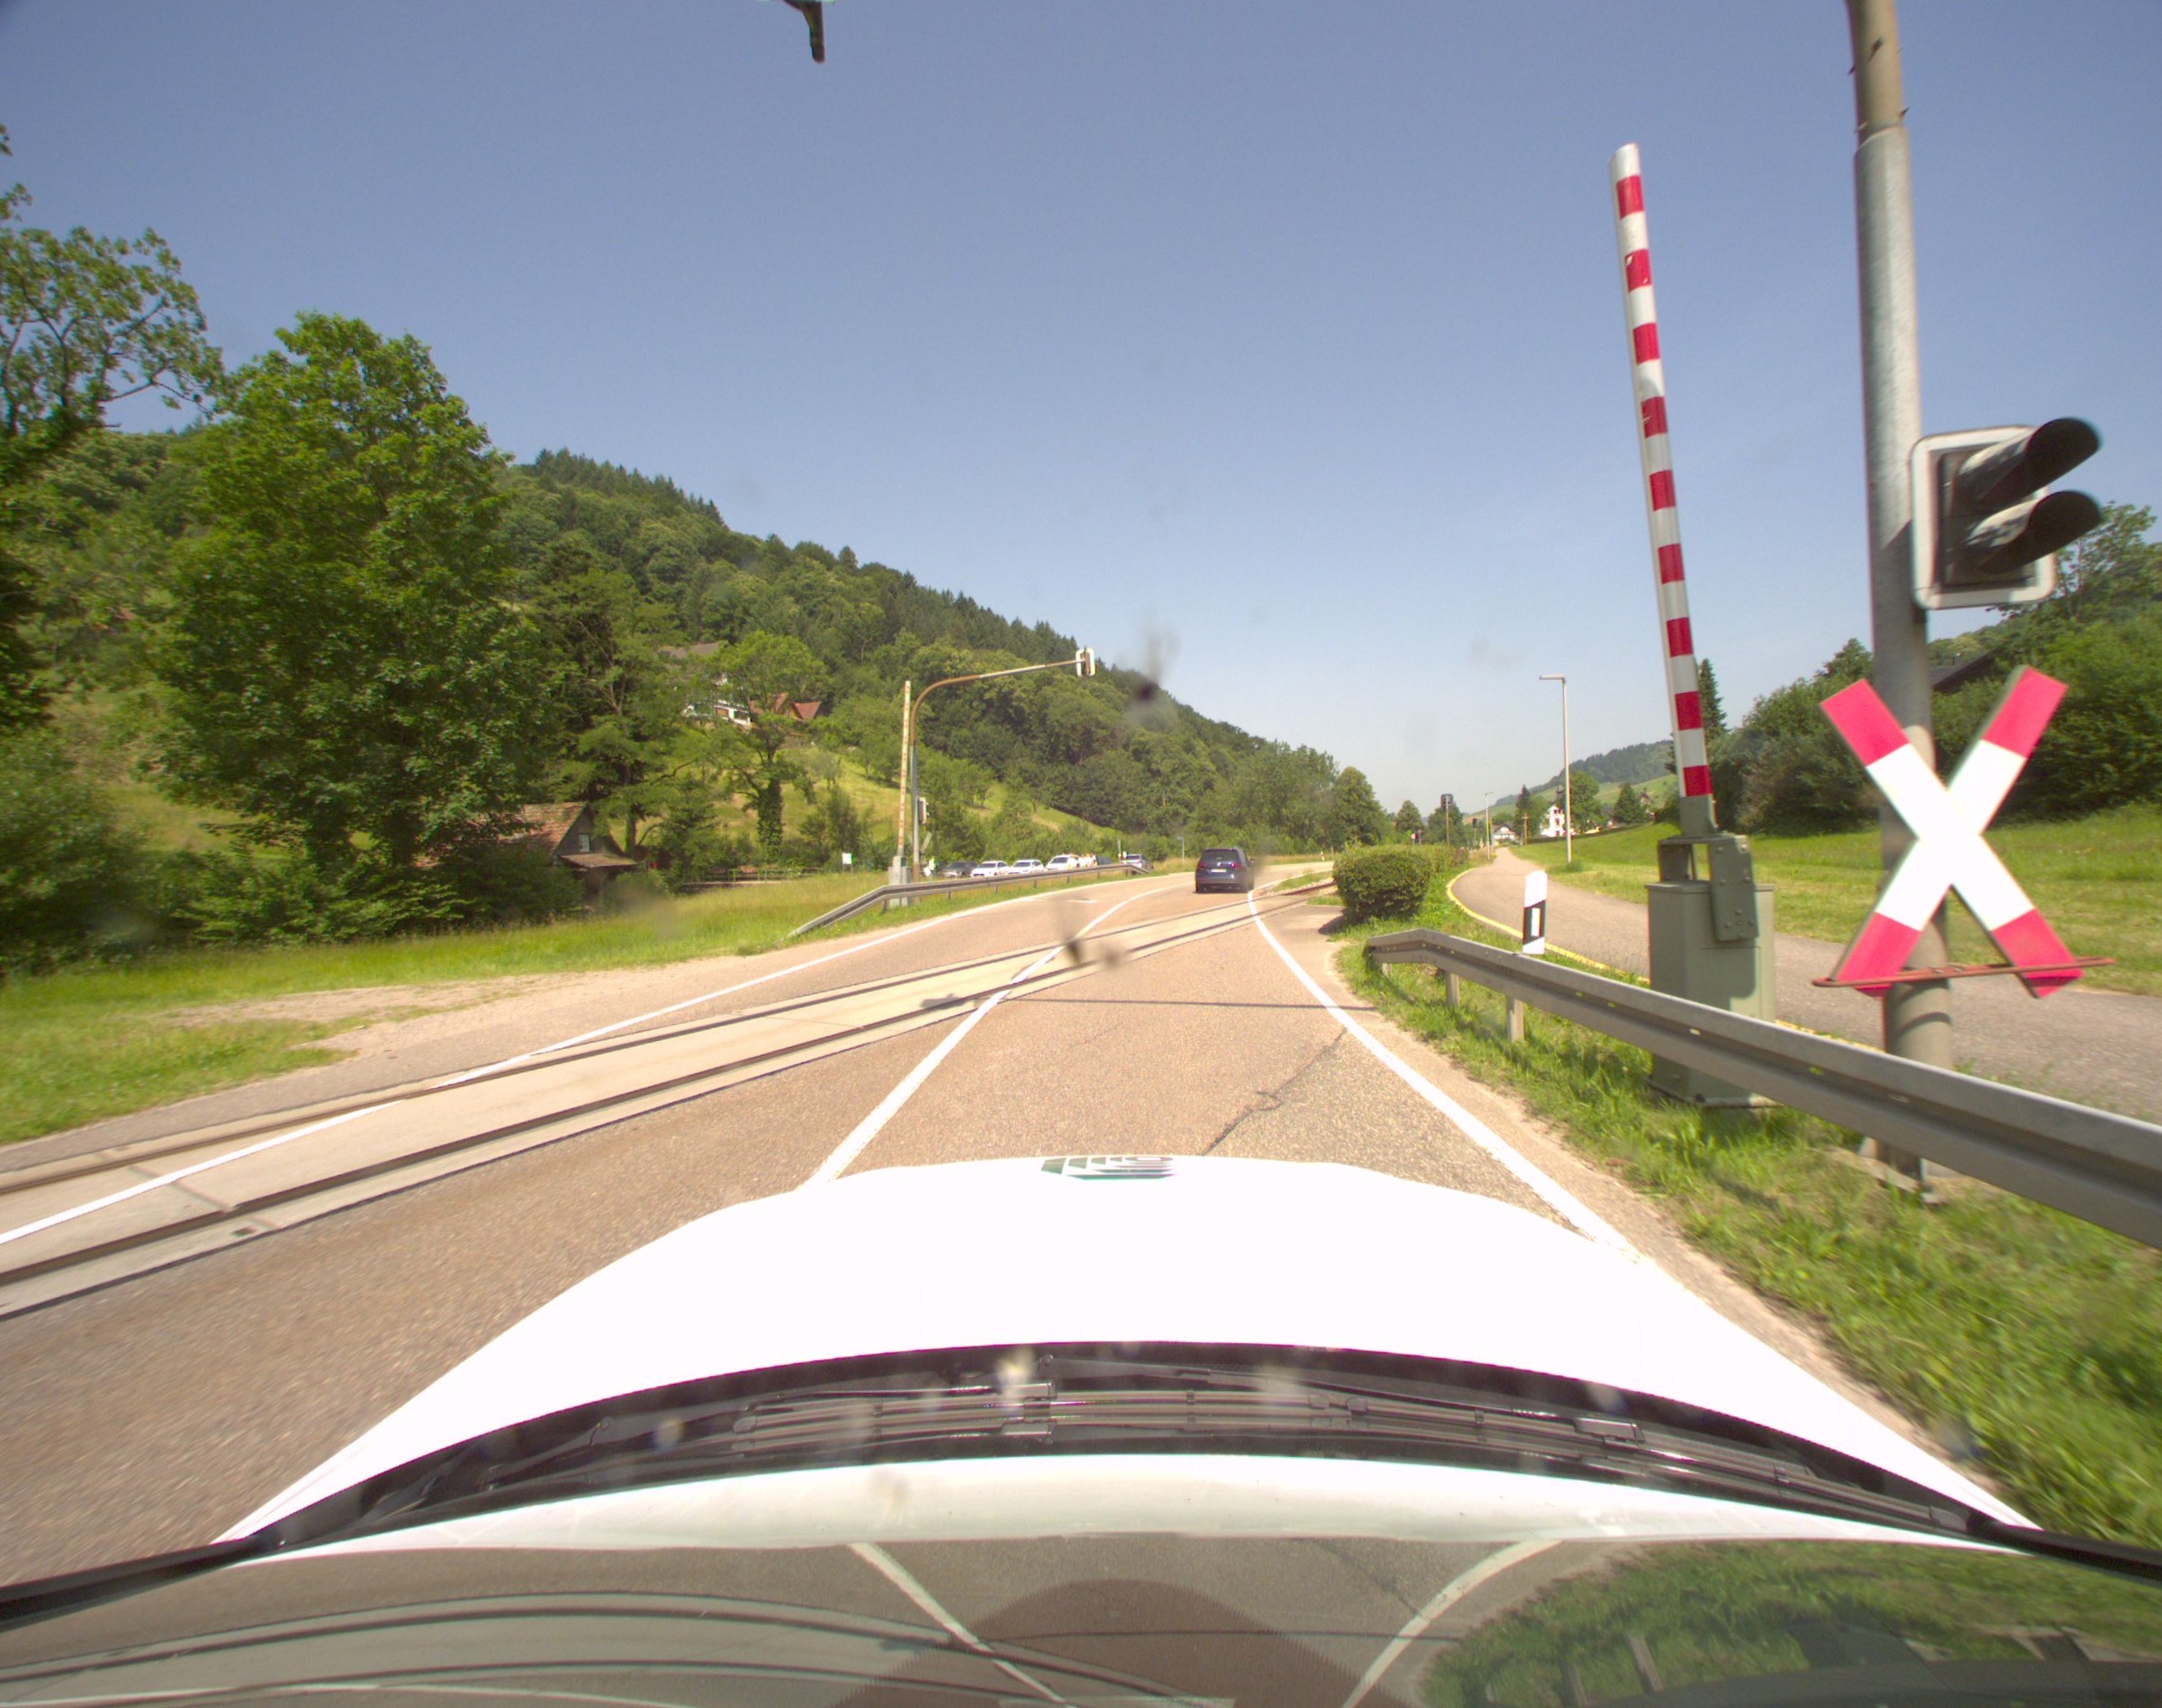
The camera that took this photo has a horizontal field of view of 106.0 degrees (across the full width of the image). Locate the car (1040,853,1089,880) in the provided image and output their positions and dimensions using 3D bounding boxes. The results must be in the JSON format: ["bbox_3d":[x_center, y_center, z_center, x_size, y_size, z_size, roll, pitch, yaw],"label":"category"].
[{"bbox_3d":[-1.120,0.889,59.033,1.855,1.782,4.796,-2,0,20],"label":"car"}]

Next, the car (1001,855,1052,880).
[{"bbox_3d":[-3.900,0.976,59.493,1.978,1.641,4.924,-3,-1,17],"label":"car"}]

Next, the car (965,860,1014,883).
[{"bbox_3d":[-6.657,1.236,59.807,1.979,1.500,4.540,-3,-1,15],"label":"car"}]

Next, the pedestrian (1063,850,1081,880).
[{"bbox_3d":[-0.576,0.669,51.298,0.780,1.842,0.703,-3,0,28],"label":"pedestrian"}]

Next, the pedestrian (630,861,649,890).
[{"bbox_3d":[-32.026,1.538,59.108,0.693,2.014,0.936,-3,-1,18],"label":"pedestrian"}]

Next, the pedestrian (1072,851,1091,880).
[{"bbox_3d":[0.016,0.724,52.061,0.761,1.796,0.799,-4,-1,44],"label":"pedestrian"}]

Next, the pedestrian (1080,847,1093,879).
[{"bbox_3d":[0.356,0.568,51.343,0.657,1.955,0.534,-3,-1,7],"label":"pedestrian"}]

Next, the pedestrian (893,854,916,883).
[{"bbox_3d":[-12.185,1.002,56.230,1.115,1.969,0.867,-4,-1,32],"label":"pedestrian"}]

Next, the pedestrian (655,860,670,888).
[{"bbox_3d":[-31.100,1.499,60.508,0.935,2.014,0.694,-2,-1,-31],"label":"pedestrian"}]

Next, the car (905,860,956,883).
[{"bbox_3d":[-11.293,1.294,61.376,1.979,1.500,4.540,-3,-1,15],"label":"car"}]

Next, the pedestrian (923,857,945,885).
[{"bbox_3d":[-9.808,1.132,54.302,0.946,1.794,1.004,-3,-1,17],"label":"pedestrian"}]

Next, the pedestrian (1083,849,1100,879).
[{"bbox_3d":[0.699,0.646,52.556,0.775,1.840,0.641,-2,-1,-40],"label":"pedestrian"}]

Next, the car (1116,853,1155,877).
[{"bbox_3d":[3.810,0.727,56.329,1.812,1.500,4.294,-3,-1,15],"label":"car"}]

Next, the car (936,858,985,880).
[{"bbox_3d":[-8.917,1.088,60.763,1.979,1.500,4.540,-1,0,15],"label":"car"}]

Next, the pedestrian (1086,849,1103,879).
[{"bbox_3d":[0.843,0.642,51.777,0.775,1.859,0.641,-2,-1,-40],"label":"pedestrian"}]

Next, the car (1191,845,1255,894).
[{"bbox_3d":[5.236,0.512,29.616,1.838,1.649,4.157,-1,0,16],"label":"car"}]
